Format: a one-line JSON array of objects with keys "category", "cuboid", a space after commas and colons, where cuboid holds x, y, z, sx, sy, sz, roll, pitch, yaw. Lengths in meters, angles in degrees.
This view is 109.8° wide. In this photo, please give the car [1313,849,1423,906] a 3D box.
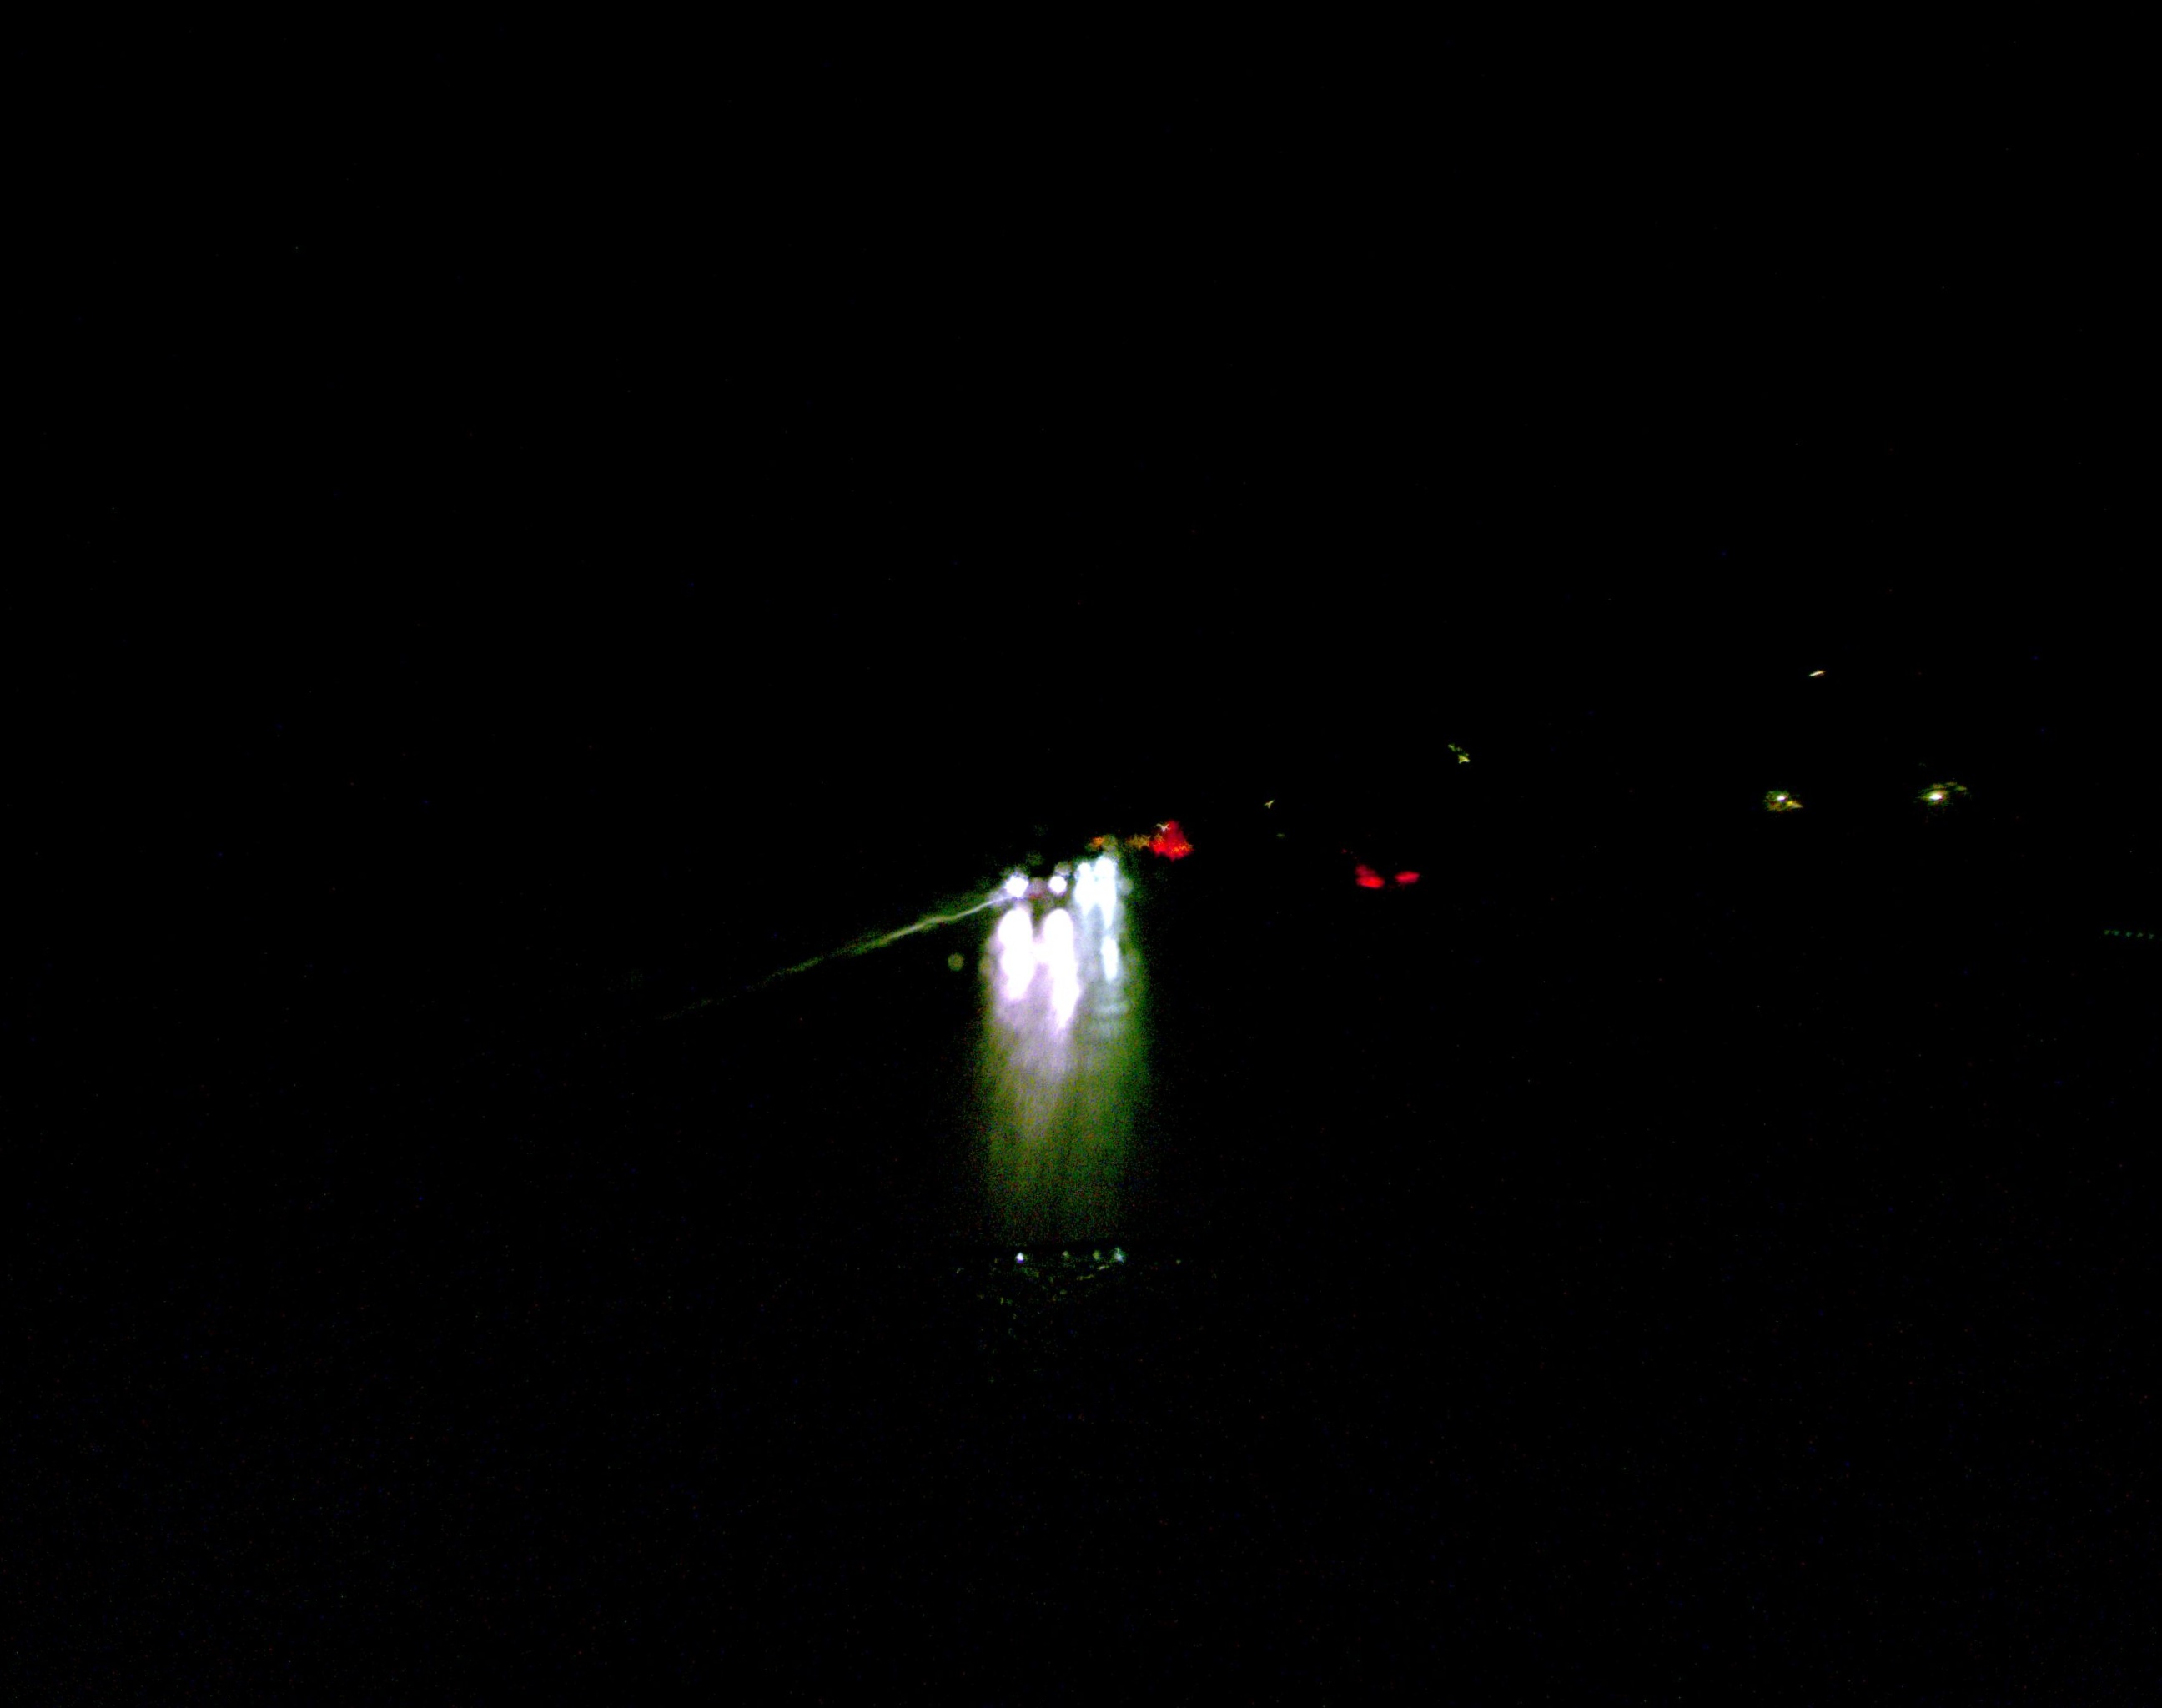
[{"category": "car", "cuboid": [9.065, 0.670, 24.391, 1.807, 1.579, 4.029, -3, 1, -2]}]

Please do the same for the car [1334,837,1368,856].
[{"category": "car", "cuboid": [27.717, -0.748, 78.102, 1.791, 1.684, 4.218, -4, 0, -1]}]

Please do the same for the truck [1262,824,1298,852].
[{"category": "truck", "cuboid": [36.060, -2.979, 138.227, 3.448, 4.584, 10.210, -6, 1, 0]}]

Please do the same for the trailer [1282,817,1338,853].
[{"category": "trailer", "cuboid": [36.193, -2.935, 121.098, 3.981, 4.984, 14.832, -6, 1, 0]}]

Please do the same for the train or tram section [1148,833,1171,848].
[{"category": "train or tram section", "cuboid": [22.387, -3.925, 218.447, 2.703, 3.793, 37.137, -6, 1, 0]}]

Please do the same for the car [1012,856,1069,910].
[{"category": "car", "cuboid": [-1.384, 0.935, 26.631, 1.791, 1.684, 4.218, -2, 0, -2]}]

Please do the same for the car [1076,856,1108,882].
[{"category": "car", "cuboid": [0.723, 1.006, 52.928, 1.789, 1.638, 4.434, -2, 0, -4]}]

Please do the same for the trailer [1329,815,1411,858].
[{"category": "trailer", "cuboid": [35.699, -2.130, 95.010, 3.981, 4.583, 15.511, -6, 1, 0]}]

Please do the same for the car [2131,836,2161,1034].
[{"category": "car", "cuboid": [9.940, 0.632, 4.175, 1.766, 1.632, 4.651, -3, 0, -3]}]

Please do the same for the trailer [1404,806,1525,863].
[{"category": "trailer", "cuboid": [36.290, -1.838, 72.999, 3.981, 4.583, 14.244, -6, 1, 0]}]
